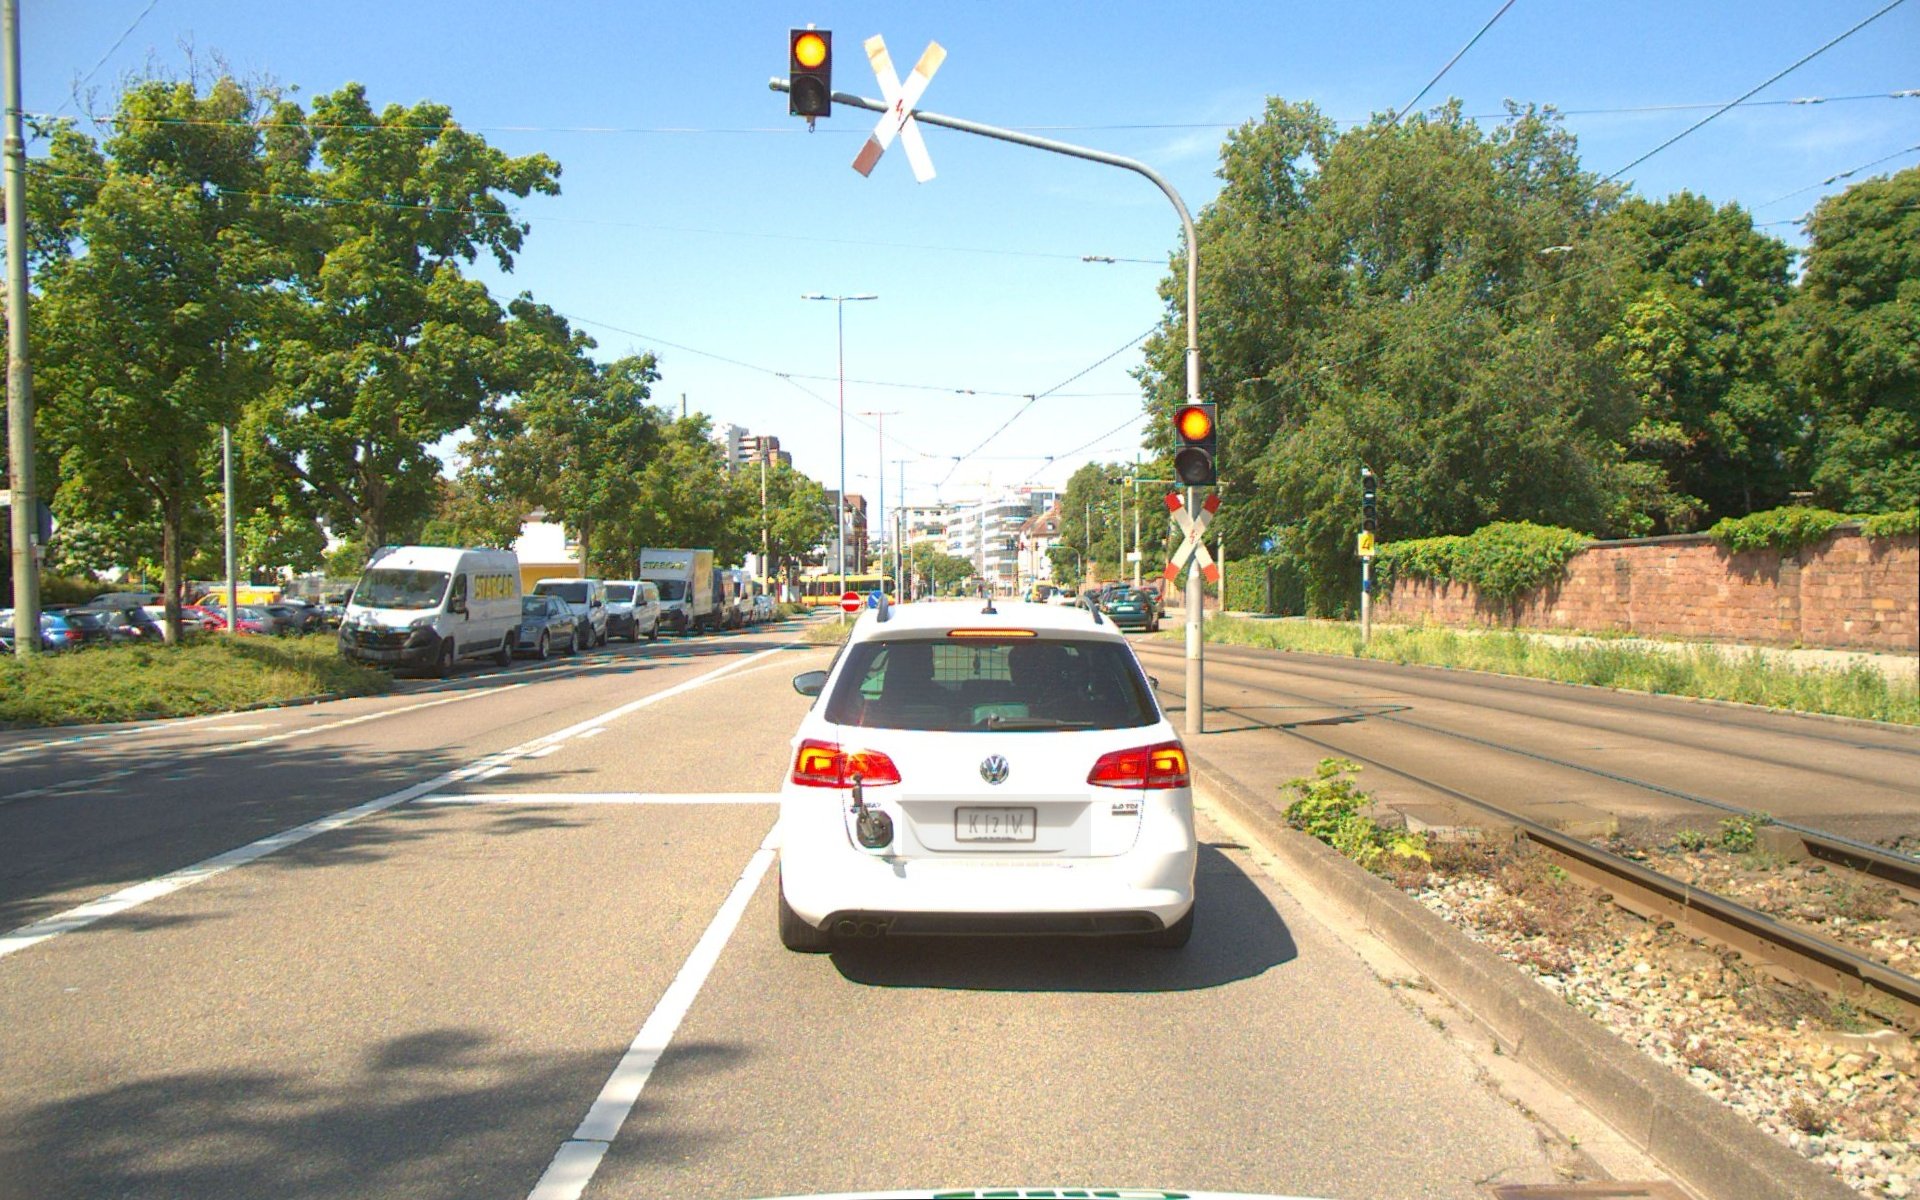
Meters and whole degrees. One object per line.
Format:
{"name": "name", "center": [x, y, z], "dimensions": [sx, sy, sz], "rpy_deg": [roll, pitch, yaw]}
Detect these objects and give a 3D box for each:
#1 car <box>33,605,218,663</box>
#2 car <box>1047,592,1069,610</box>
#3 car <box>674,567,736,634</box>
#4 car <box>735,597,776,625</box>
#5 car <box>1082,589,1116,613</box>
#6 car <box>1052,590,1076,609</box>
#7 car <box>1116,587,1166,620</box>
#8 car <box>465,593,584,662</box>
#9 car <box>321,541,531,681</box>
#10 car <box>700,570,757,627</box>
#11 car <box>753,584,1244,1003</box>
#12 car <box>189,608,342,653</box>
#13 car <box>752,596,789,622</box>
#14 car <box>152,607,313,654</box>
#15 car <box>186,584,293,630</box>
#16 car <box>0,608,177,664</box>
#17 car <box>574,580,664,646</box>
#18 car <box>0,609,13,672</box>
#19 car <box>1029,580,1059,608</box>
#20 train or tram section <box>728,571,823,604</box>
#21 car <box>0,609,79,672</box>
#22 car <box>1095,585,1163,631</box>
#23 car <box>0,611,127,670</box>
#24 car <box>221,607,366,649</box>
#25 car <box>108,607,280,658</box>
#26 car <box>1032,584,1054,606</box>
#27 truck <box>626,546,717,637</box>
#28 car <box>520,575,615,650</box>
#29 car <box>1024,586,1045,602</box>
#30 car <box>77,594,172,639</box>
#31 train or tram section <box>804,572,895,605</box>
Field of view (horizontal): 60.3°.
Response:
{"name": "car", "center": [-21.729, 0.878, 43.147], "dimensions": [3.904, 1.373, 1.772], "rpy_deg": [-1, 0, 2]}
{"name": "car", "center": [7.978, 0.075, 135.019], "dimensions": [1.549, 1.370, 3.453], "rpy_deg": [1, 0, -1]}
{"name": "car", "center": [-10.723, -0.005, 69.780], "dimensions": [1.806, 2.715, 5.003], "rpy_deg": [-1, 0, 0]}
{"name": "car", "center": [-11.383, 0.588, 92.220], "dimensions": [1.806, 1.458, 4.037], "rpy_deg": [-1, 0, -1]}
{"name": "car", "center": [8.505, 0.057, 101.281], "dimensions": [1.710, 1.432, 3.912], "rpy_deg": [1, 0, -1]}
{"name": "car", "center": [7.853, -0.020, 124.834], "dimensions": [1.549, 1.370, 3.453], "rpy_deg": [1, 0, -1]}
{"name": "car", "center": [8.269, 0.128, 75.855], "dimensions": [1.823, 1.441, 4.325], "rpy_deg": [1, 0, 0]}
{"name": "car", "center": [-10.509, 0.630, 40.218], "dimensions": [1.806, 1.543, 4.196], "rpy_deg": [-1, 0, -1]}
{"name": "car", "center": [-10.761, 0.176, 33.933], "dimensions": [2.016, 2.544, 6.309], "rpy_deg": [2, 1, 2]}
{"name": "car", "center": [-10.773, -0.099, 77.378], "dimensions": [1.806, 2.538, 5.856], "rpy_deg": [-1, 0, 0]}
{"name": "car", "center": [0.090, 0.681, 7.884], "dimensions": [1.732, 1.471, 3.912], "rpy_deg": [1, 0, -2]}
{"name": "car", "center": [-21.343, 0.931, 50.910], "dimensions": [3.904, 1.246, 1.772], "rpy_deg": [-1, 0, 2]}
{"name": "car", "center": [-11.206, 0.525, 98.111], "dimensions": [1.744, 1.458, 4.037], "rpy_deg": [-1, 0, -1]}
{"name": "car", "center": [-21.240, 0.886, 48.399], "dimensions": [3.904, 1.246, 1.772], "rpy_deg": [-1, 0, 2]}
{"name": "car", "center": [-34.039, 0.327, 78.225], "dimensions": [4.175, 2.049, 1.997], "rpy_deg": [1, 0, -7]}
{"name": "car", "center": [-21.595, 0.874, 40.582], "dimensions": [3.904, 1.246, 1.772], "rpy_deg": [-1, 0, 2]}
{"name": "car", "center": [-10.933, 0.385, 53.335], "dimensions": [1.806, 1.995, 5.133], "rpy_deg": [-1, 0, 0]}
{"name": "car", "center": [-20.889, 0.843, 32.117], "dimensions": [3.907, 1.246, 1.770], "rpy_deg": [-1, 0, -3]}
{"name": "car", "center": [7.936, -0.572, 157.521], "dimensions": [2.413, 2.542, 5.909], "rpy_deg": [1, 0, -1]}
{"name": "train or tram section", "center": [-20.152, -1.379, 180.168], "dimensions": [10.557, 3.309, 2.307], "rpy_deg": [1, -1, 24]}
{"name": "car", "center": [-20.929, 0.863, 34.682], "dimensions": [3.907, 1.246, 1.770], "rpy_deg": [-1, 0, -3]}
{"name": "car", "center": [5.526, 0.238, 53.836], "dimensions": [1.708, 1.412, 3.916], "rpy_deg": [1, 0, 13]}
{"name": "car", "center": [-21.243, 0.922, 37.369], "dimensions": [3.904, 1.246, 1.772], "rpy_deg": [-1, 0, 2]}
{"name": "car", "center": [-21.400, 0.887, 53.178], "dimensions": [3.904, 1.246, 1.772], "rpy_deg": [-1, 0, 2]}
{"name": "car", "center": [-21.160, 0.885, 45.758], "dimensions": [3.904, 1.286, 1.772], "rpy_deg": [-1, 0, 2]}
{"name": "car", "center": [7.152, -0.400, 143.076], "dimensions": [1.657, 1.844, 3.453], "rpy_deg": [1, 0, -1]}
{"name": "truck", "center": [-10.701, -0.336, 61.917], "dimensions": [2.309, 3.177, 6.889], "rpy_deg": [-1, 0, -2]}
{"name": "car", "center": [-11.021, 0.314, 46.750], "dimensions": [1.807, 1.971, 5.189], "rpy_deg": [-1, 0, -5]}
{"name": "car", "center": [7.675, -0.629, 170.621], "dimensions": [1.953, 1.624, 3.999], "rpy_deg": [1, 0, 0]}
{"name": "car", "center": [-36.883, 0.717, 73.093], "dimensions": [3.354, 1.909, 1.552], "rpy_deg": [-1, 0, -3]}
{"name": "train or tram section", "center": [-11.738, -1.223, 174.711], "dimensions": [11.066, 3.309, 2.296], "rpy_deg": [1, -1, 40]}
